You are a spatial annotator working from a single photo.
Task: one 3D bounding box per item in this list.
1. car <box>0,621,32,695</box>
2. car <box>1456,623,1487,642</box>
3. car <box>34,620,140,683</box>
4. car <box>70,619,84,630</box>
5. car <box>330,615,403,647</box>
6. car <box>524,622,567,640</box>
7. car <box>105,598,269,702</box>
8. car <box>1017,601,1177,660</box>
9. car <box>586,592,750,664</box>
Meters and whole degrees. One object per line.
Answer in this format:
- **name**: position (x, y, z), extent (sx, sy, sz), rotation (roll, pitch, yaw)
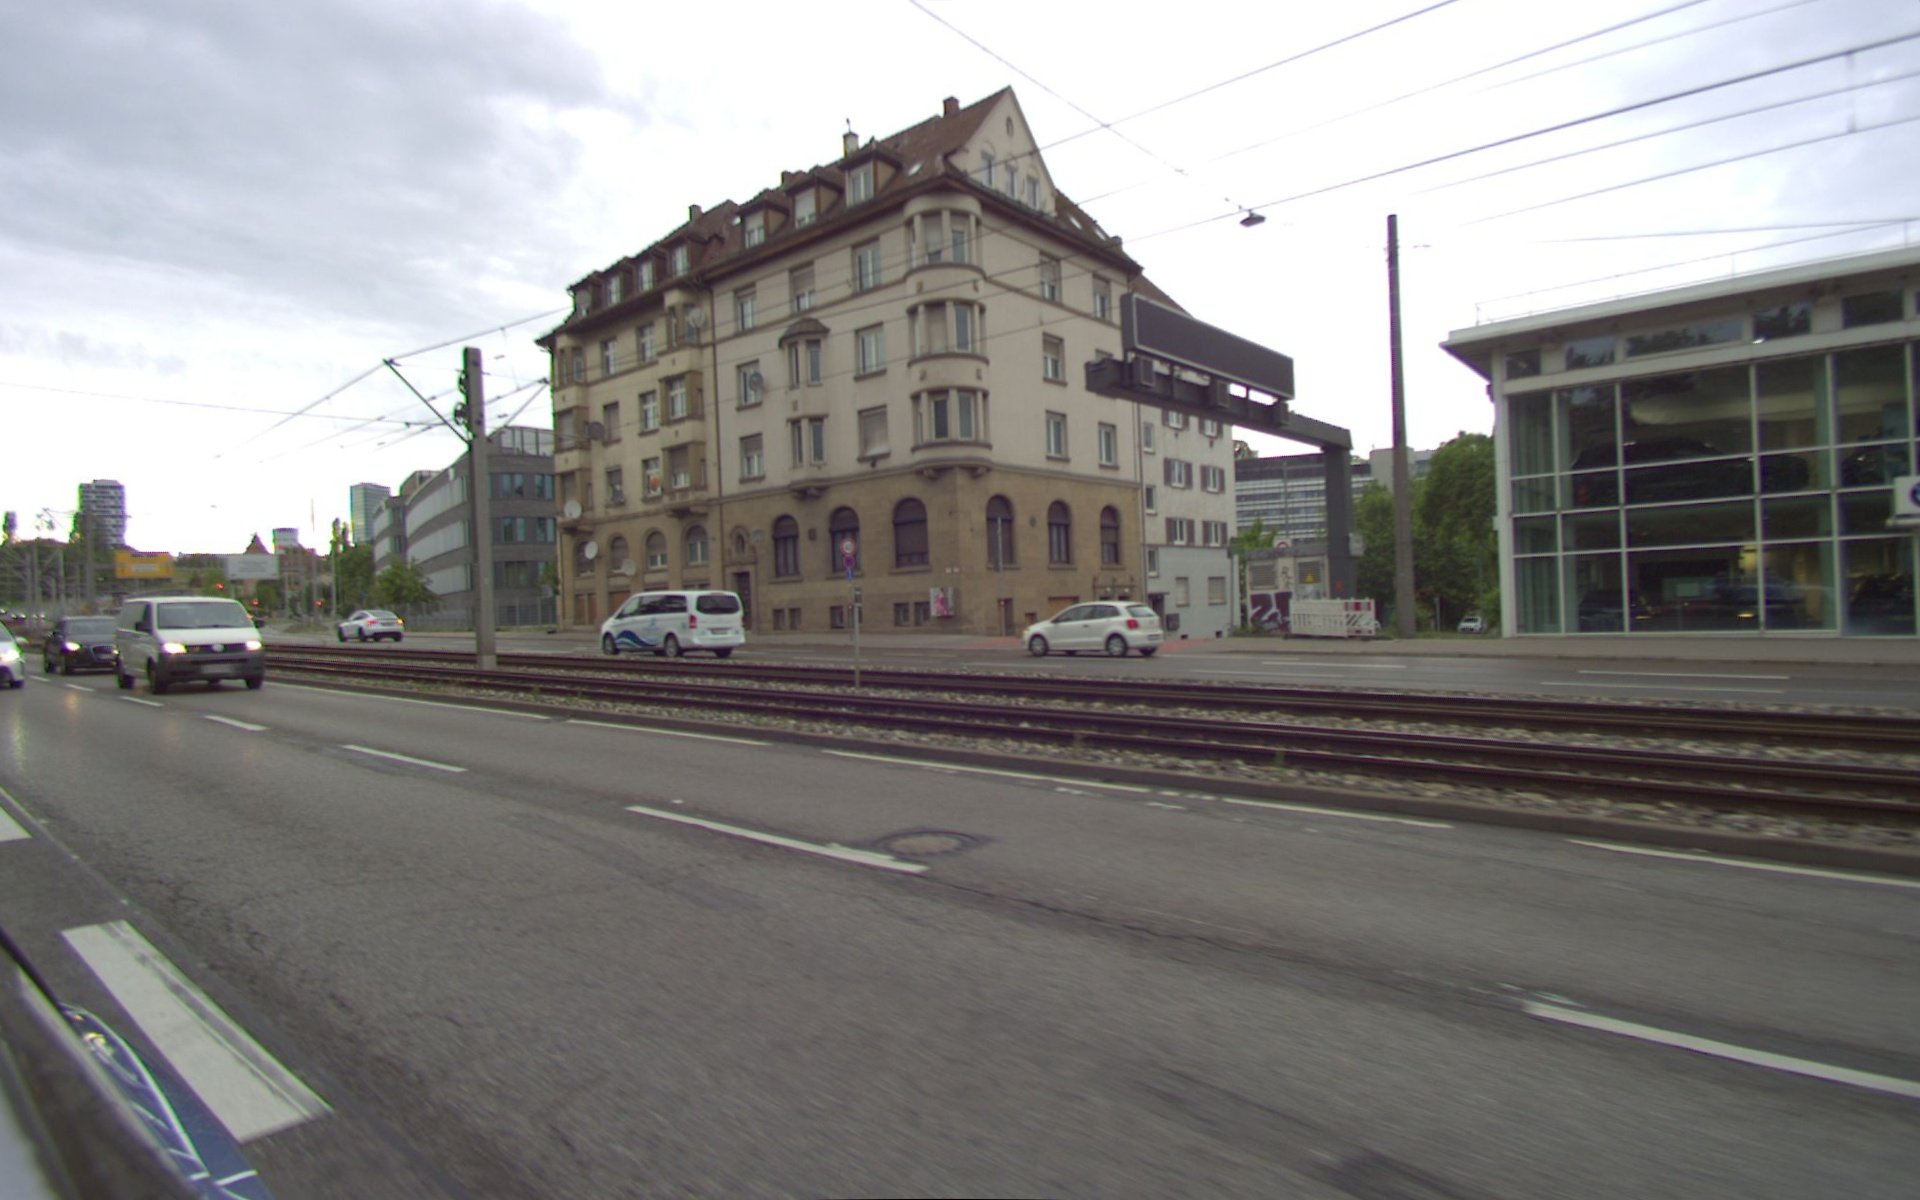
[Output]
- **car**: position (-22.641, 1.310, 22.880), extent (4.316, 1.585, 1.956), rotation (-2, -1, 41)
- **car**: position (42.281, 2.690, 83.620), extent (1.609, 1.444, 4.119), rotation (-1, 0, 37)
- **car**: position (-24.435, 1.394, 28.293), extent (3.894, 1.585, 1.687), rotation (-2, -1, 41)
- **car**: position (-168.001, 4.618, 192.652), extent (1.969, 1.962, 4.006), rotation (0, -1, -41)
- **car**: position (-30.749, 1.599, 52.379), extent (4.738, 1.604, 1.703), rotation (-2, -2, 40)
- **car**: position (-31.149, 2.317, 76.021), extent (3.566, 1.345, 1.601), rotation (-1, -1, 40)
- **car**: position (-16.595, 0.995, 21.627), extent (4.715, 1.973, 1.889), rotation (-2, -1, 41)
- **car**: position (3.530, 0.775, 26.418), extent (3.849, 1.415, 1.663), rotation (-2, -1, 41)
- **car**: position (-8.469, 0.791, 29.108), extent (5.189, 1.888, 1.973), rotation (-2, 0, 40)
